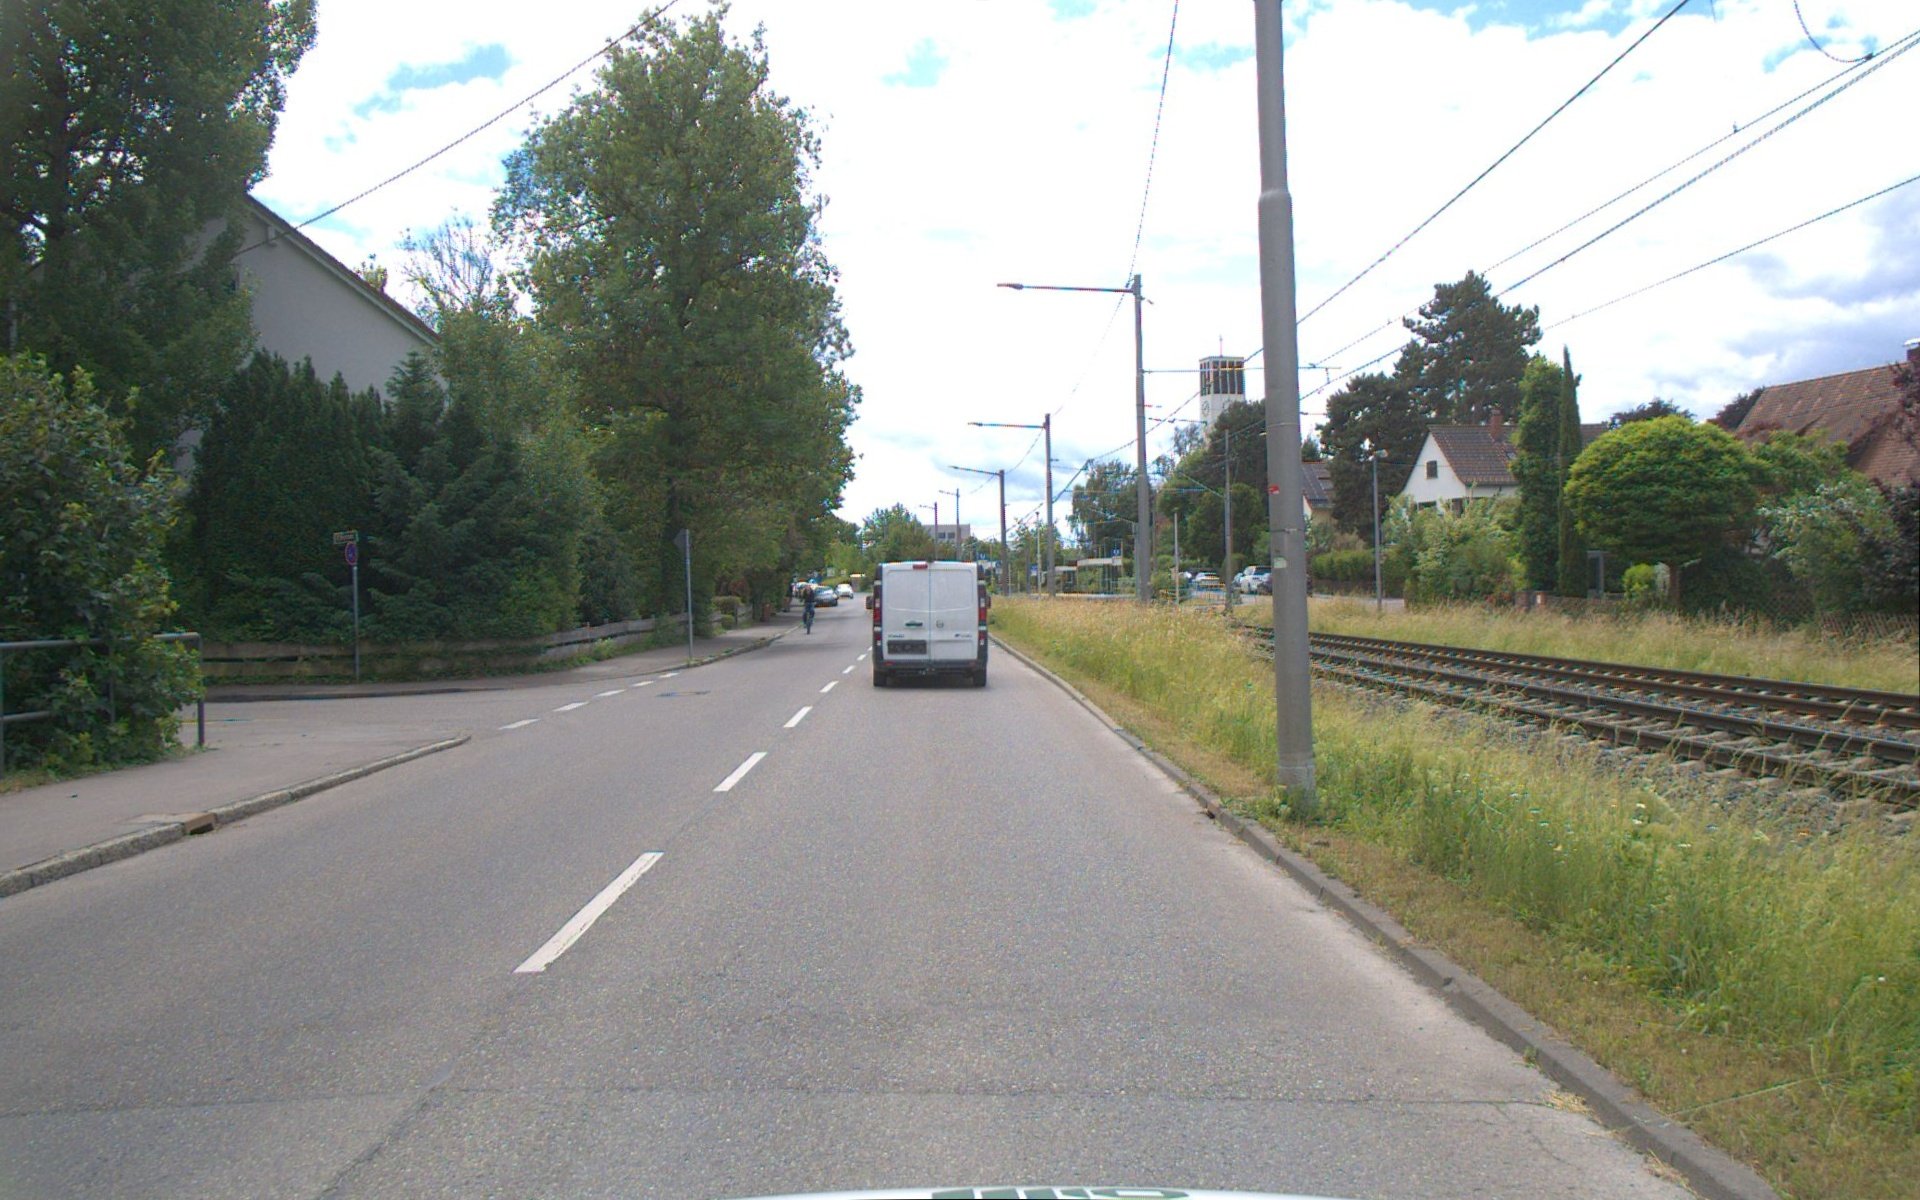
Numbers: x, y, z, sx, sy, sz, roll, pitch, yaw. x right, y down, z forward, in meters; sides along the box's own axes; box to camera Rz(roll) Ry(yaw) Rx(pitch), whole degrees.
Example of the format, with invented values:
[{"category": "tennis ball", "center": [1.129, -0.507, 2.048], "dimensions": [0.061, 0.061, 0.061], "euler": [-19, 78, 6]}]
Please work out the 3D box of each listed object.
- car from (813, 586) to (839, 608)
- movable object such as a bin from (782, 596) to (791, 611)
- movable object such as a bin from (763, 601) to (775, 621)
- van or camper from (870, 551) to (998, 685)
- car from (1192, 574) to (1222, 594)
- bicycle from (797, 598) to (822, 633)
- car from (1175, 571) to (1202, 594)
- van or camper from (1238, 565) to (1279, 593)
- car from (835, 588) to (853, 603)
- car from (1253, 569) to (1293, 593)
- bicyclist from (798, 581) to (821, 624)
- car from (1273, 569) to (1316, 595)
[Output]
[{"category": "car", "center": [-10.120, -0.261, 124.732], "dimensions": [1.704, 1.531, 4.470], "euler": [-3, 1, -7]}, {"category": "movable object such as a bin", "center": [-11.018, 0.243, 105.285], "dimensions": [0.455, 0.946, 0.428], "euler": [2, -1, -18]}, {"category": "movable object such as a bin", "center": [-9.014, 0.518, 78.015], "dimensions": [0.503, 0.961, 0.568], "euler": [0, 0, -2]}, {"category": "van or camper", "center": [-0.423, 0.276, 27.528], "dimensions": [1.953, 2.049, 4.445], "euler": [0, 0, -1]}, {"category": "car", "center": [20.284, -1.300, 135.792], "dimensions": [1.845, 1.548, 4.000], "euler": [-1, 0, 0]}, {"category": "bicycle", "center": [-5.675, 0.580, 62.532], "dimensions": [0.740, 1.248, 2.308], "euler": [-3, 0, -1]}, {"category": "car", "center": [19.907, -1.550, 144.237], "dimensions": [1.697, 1.947, 3.934], "euler": [0, 0, -1]}, {"category": "van or camper", "center": [20.513, -1.451, 113.957], "dimensions": [1.866, 1.857, 5.047], "euler": [-1, 0, 0]}, {"category": "car", "center": [-11.700, -0.455, 166.933], "dimensions": [1.661, 1.455, 3.783], "euler": [-3, 1, -5]}, {"category": "car", "center": [20.612, -1.248, 109.198], "dimensions": [1.845, 1.548, 4.000], "euler": [-1, 0, 0]}, {"category": "bicyclist", "center": [-5.683, 0.097, 62.507], "dimensions": [0.762, 1.576, 0.869], "euler": [-2, 0, -2]}, {"category": "car", "center": [20.848, -1.108, 103.197], "dimensions": [1.845, 1.548, 4.000], "euler": [-1, 0, 0]}]
